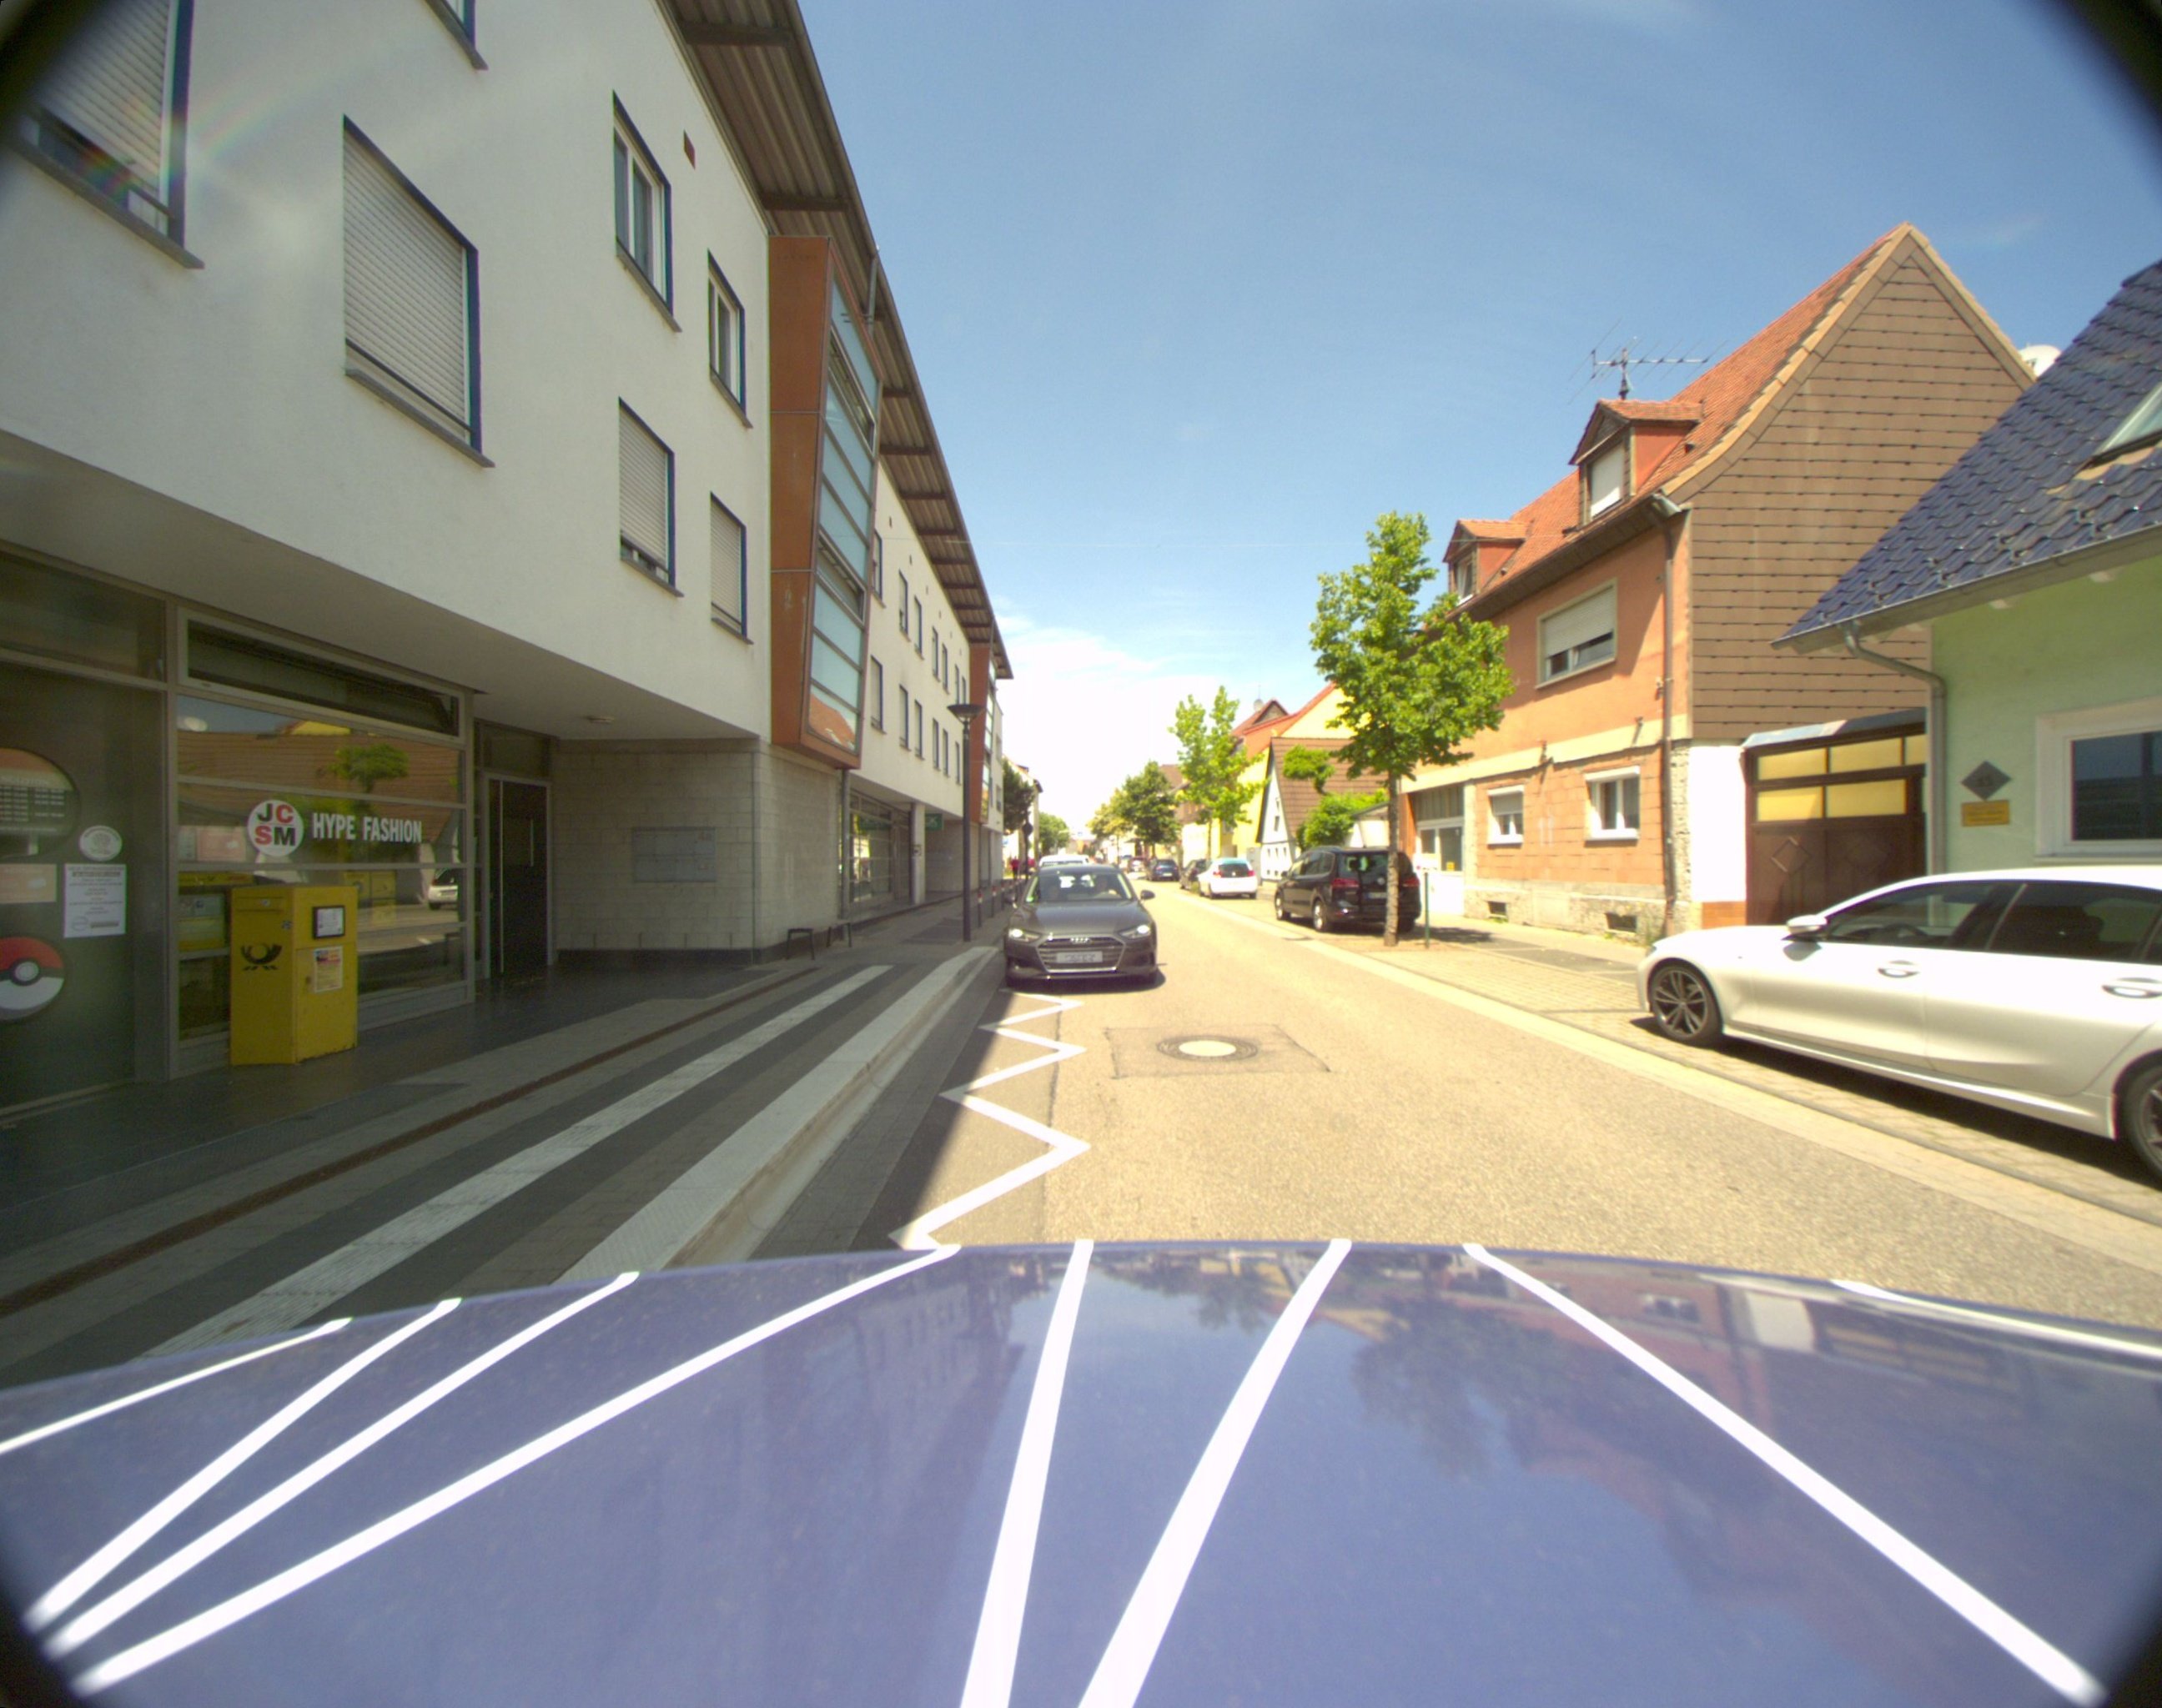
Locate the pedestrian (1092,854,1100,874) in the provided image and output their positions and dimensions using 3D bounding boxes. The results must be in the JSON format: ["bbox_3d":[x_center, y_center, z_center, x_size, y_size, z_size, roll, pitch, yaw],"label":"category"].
[{"bbox_3d":[1.201,0.786,62.345,0.643,1.645,0.624,0,0,-1],"label":"pedestrian"}]

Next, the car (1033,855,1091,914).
[{"bbox_3d":[-0.537,0.842,22.851,1.581,1.620,4.064,0,0,-1],"label":"car"}]

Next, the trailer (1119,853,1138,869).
[{"bbox_3d":[4.948,0.697,79.100,1.493,1.571,3.882,-3,0,-3],"label":"trailer"}]

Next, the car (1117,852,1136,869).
[{"bbox_3d":[4.982,0.678,83.528,1.695,1.742,3.999,-3,0,-2],"label":"car"}]

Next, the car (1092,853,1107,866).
[{"bbox_3d":[2.291,0.646,94.574,1.693,1.464,3.999,2,0,-1],"label":"car"}]

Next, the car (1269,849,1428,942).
[{"bbox_3d":[5.511,0.770,16.316,1.780,1.716,4.519,0,0,-1],"label":"car"}]

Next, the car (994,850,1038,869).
[{"bbox_3d":[-6.426,0.519,75.520,4.204,1.849,2.000,1,0,-1],"label":"car"}]

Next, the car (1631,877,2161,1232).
[{"bbox_3d":[5.559,0.923,4.229,1.724,1.428,4.459,-1,0,-1],"label":"car"}]

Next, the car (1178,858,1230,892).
[{"bbox_3d":[5.484,0.910,34.311,1.649,1.422,4.098,1,0,0],"label":"car"}]

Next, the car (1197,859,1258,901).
[{"bbox_3d":[5.357,0.915,28.069,1.558,1.422,3.409,-1,0,0],"label":"car"}]

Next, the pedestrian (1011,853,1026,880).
[{"bbox_3d":[-3.848,0.775,46.780,0.826,1.579,0.919,2,0,0],"label":"pedestrian"}]

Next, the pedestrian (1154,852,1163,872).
[{"bbox_3d":[6.423,0.669,63.202,0.663,1.592,0.771,0,0,0],"label":"pedestrian"}]

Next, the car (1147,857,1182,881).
[{"bbox_3d":[5.141,0.894,47.166,1.660,1.399,4.157,0,0,0],"label":"car"}]

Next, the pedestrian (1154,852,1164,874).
[{"bbox_3d":[5.714,0.637,55.635,0.631,1.592,0.528,0,1,0],"label":"pedestrian"}]

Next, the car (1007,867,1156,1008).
[{"bbox_3d":[-0.016,0.936,10.232,1.581,1.424,4.064,-1,0,-1],"label":"car"}]

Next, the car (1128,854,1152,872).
[{"bbox_3d":[5.126,0.776,66.481,1.753,1.566,4.157,-1,0,0],"label":"car"}]

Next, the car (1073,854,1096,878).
[{"bbox_3d":[0.236,0.834,54.256,1.581,1.620,4.064,0,0,-1],"label":"car"}]
